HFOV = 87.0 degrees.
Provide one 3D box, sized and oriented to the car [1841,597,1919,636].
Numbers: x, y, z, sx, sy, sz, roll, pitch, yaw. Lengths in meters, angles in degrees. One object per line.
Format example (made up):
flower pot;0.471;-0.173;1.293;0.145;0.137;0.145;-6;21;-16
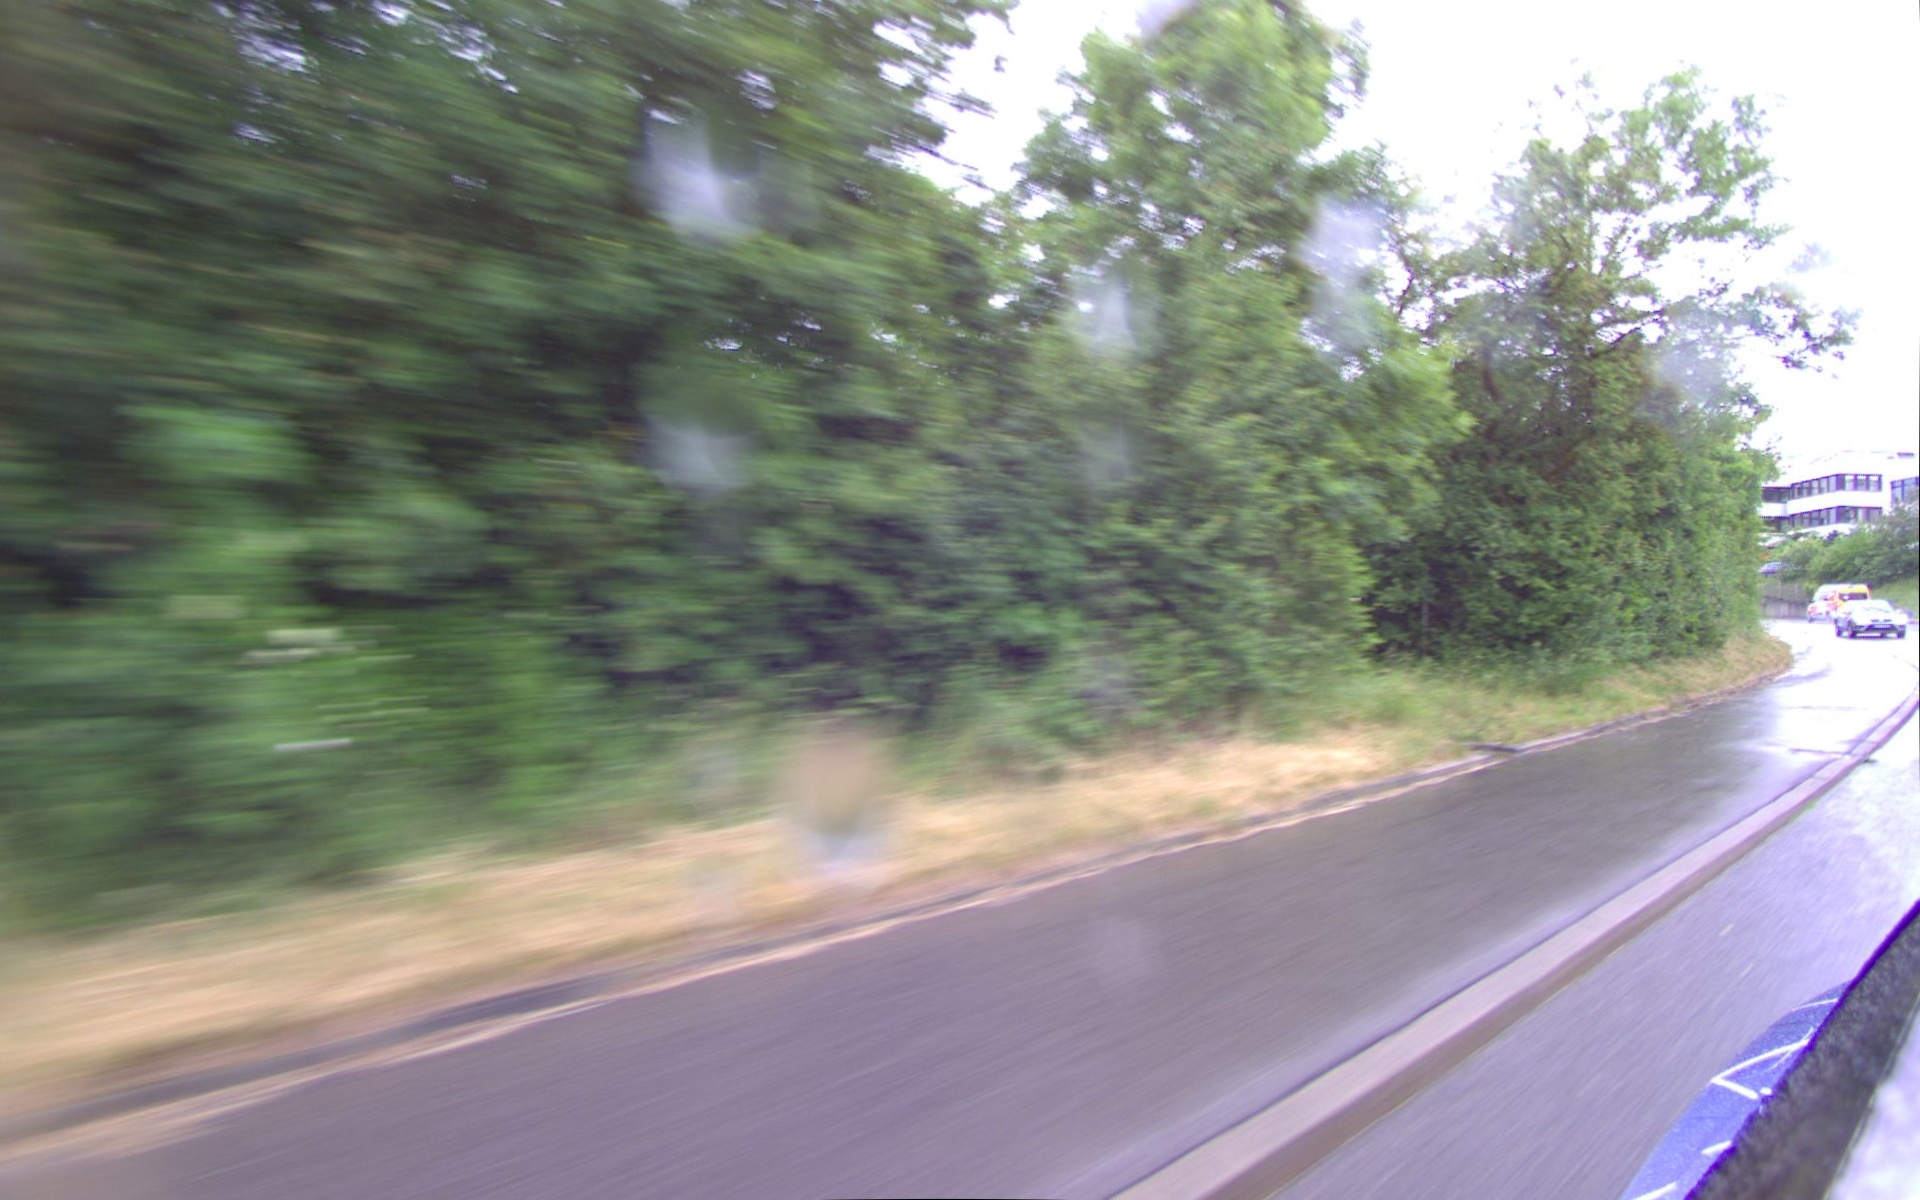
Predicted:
car;38.326;0.670;42.068;1.862;1.459;4.326;3;1;33

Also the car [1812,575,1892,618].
car;54.805;-0.168;62.326;2.028;2.449;5.411;-2;-1;23
